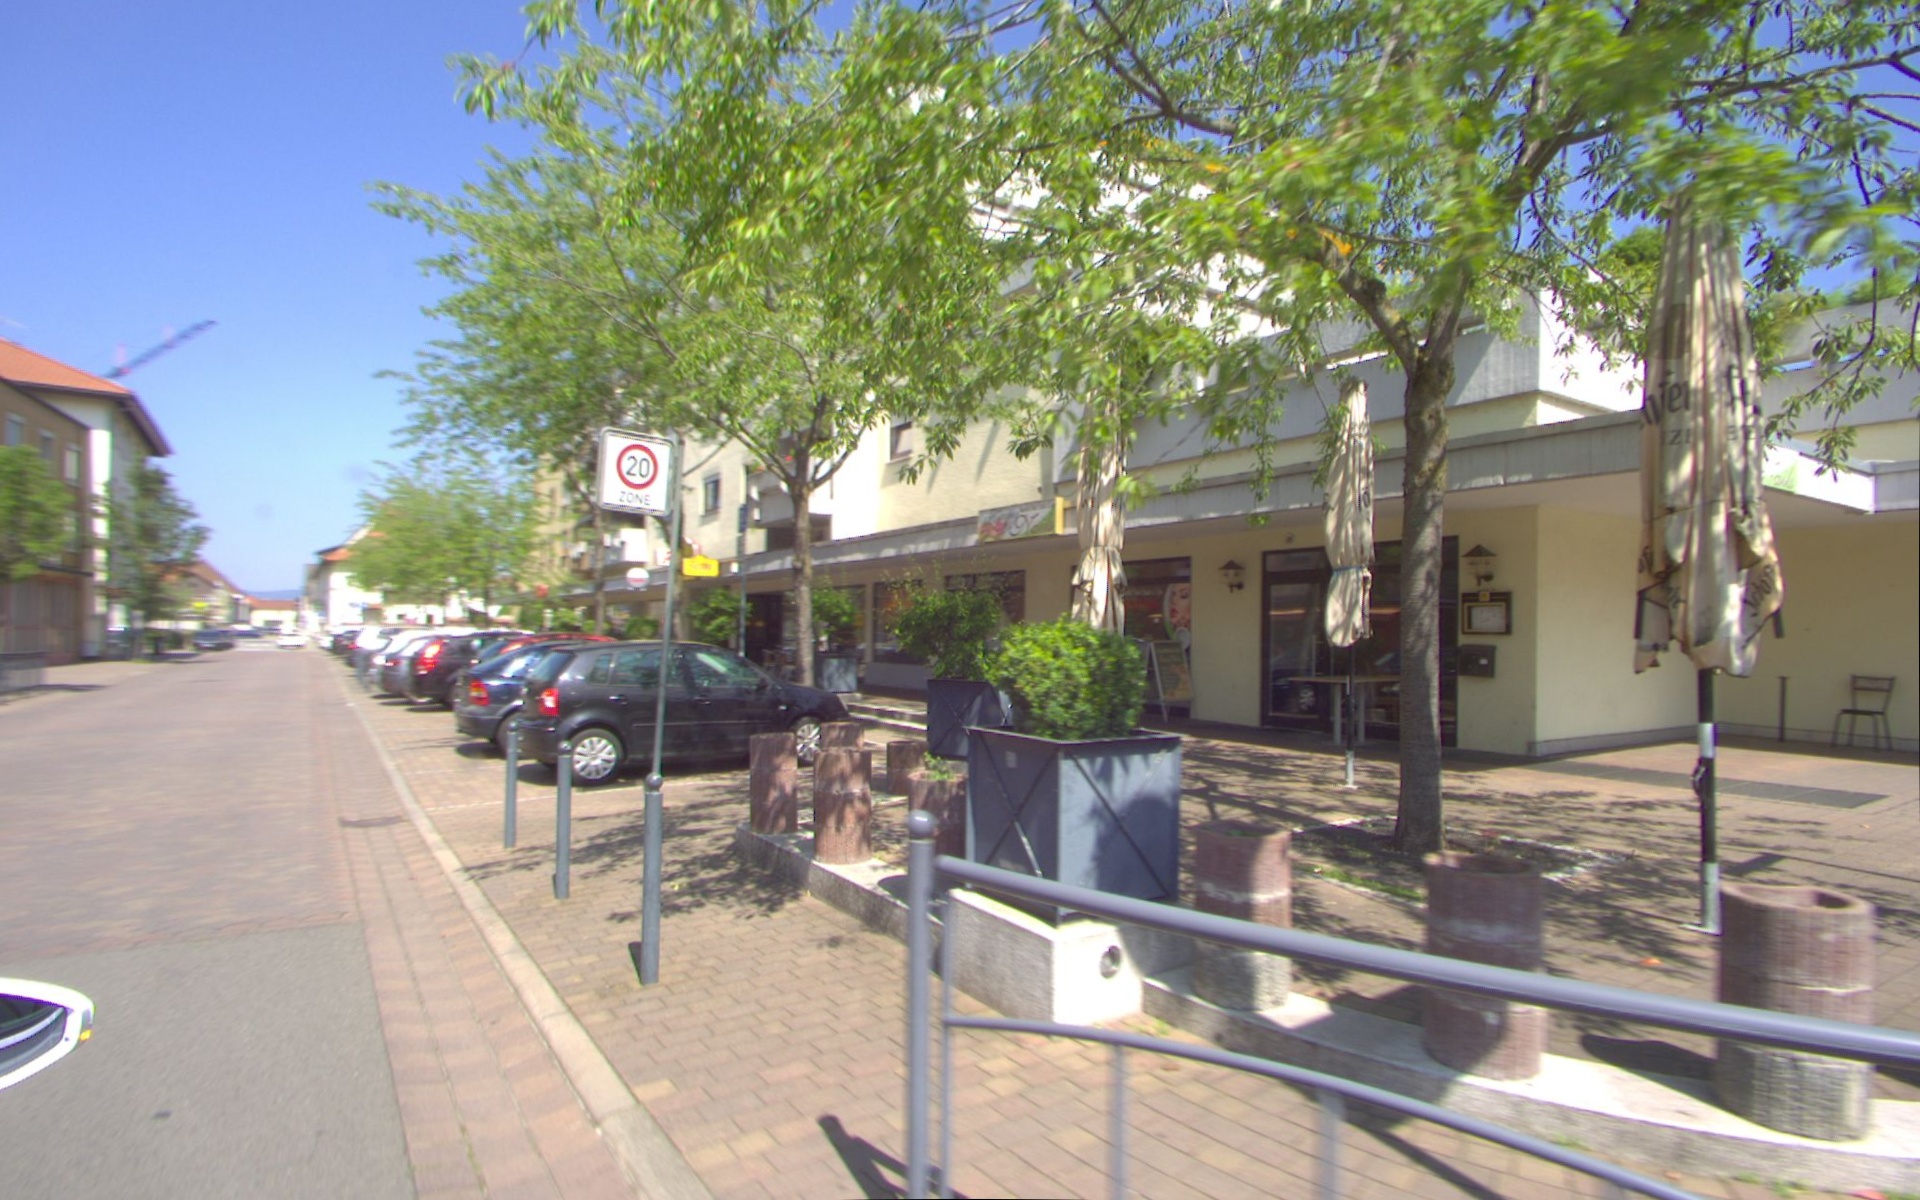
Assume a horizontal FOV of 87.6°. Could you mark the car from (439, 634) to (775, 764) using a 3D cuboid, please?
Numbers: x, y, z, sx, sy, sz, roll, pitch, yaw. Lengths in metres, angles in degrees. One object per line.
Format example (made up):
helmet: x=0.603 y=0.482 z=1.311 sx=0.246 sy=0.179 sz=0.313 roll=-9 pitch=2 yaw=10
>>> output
car: x=-4.765 y=1.236 z=13.714 sx=4.057 sy=1.450 sz=1.772 roll=1 pitch=0 yaw=-34

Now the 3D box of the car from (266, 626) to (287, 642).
car: x=-72.190 y=3.584 z=105.798 sx=1.729 sy=1.500 sz=3.607 roll=2 pitch=-1 yaw=-33

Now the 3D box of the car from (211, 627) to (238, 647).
car: x=-60.249 y=3.051 z=82.062 sx=1.493 sy=1.520 sz=3.803 roll=2 pitch=-1 yaw=-33

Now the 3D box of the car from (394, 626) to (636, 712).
car: x=-8.941 y=1.336 z=20.243 sx=4.146 sy=1.560 sz=1.932 roll=2 pitch=-2 yaw=-37

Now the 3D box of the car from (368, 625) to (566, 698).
car: x=-11.847 y=1.450 z=24.111 sx=4.111 sy=1.594 sz=1.748 roll=2 pitch=-1 yaw=-32

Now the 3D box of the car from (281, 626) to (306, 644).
car: x=-60.119 y=3.130 z=90.379 sx=1.813 sy=1.552 sz=3.920 roll=2 pitch=-1 yaw=-33

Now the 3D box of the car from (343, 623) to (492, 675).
car: x=-18.023 y=1.618 z=33.336 sx=4.204 sy=1.636 sz=1.548 roll=2 pitch=-2 yaw=-35

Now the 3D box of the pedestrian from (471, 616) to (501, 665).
pedestrian: x=-17.858 y=1.534 z=37.704 sx=0.831 sy=1.810 sz=0.800 roll=2 pitch=-1 yaw=-40

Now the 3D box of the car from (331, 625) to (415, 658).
car: x=-29.511 y=2.099 z=50.372 sx=3.489 sy=1.645 sz=1.700 roll=2 pitch=-2 yaw=-35

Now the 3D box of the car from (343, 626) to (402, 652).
car: x=-39.485 y=2.632 z=67.299 sx=3.316 sy=1.737 sz=1.461 roll=2 pitch=-2 yaw=-35

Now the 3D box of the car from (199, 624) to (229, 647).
car: x=-53.718 y=2.533 z=72.139 sx=1.493 sy=1.520 sz=3.803 roll=2 pitch=-1 yaw=-33

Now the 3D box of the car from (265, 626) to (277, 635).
car: x=-132.344 y=5.844 z=192.277 sx=1.729 sy=1.500 sz=3.607 roll=2 pitch=-1 yaw=-33

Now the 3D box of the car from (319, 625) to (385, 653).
car: x=-38.875 y=2.482 z=64.033 sx=3.450 sy=1.722 sz=1.524 roll=1 pitch=-2 yaw=-39

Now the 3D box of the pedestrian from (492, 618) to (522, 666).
pedestrian: x=-17.492 y=1.608 z=38.663 sx=0.831 sy=1.810 sz=0.800 roll=2 pitch=-1 yaw=-40

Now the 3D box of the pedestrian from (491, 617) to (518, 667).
pedestrian: x=-16.884 y=1.545 z=37.099 sx=0.826 sy=1.810 sz=0.804 roll=1 pitch=0 yaw=-21

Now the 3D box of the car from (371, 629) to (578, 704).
car: x=-10.514 y=1.400 z=21.814 sx=3.892 sy=1.508 sz=1.708 roll=1 pitch=-2 yaw=-29

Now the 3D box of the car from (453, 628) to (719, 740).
car: x=-5.914 y=1.237 z=15.935 sx=3.686 sy=1.555 sz=1.754 roll=0 pitch=-1 yaw=-34

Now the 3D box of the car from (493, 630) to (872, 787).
car: x=-3.158 y=1.128 z=11.685 sx=3.921 sy=1.529 sz=1.761 roll=1 pitch=-2 yaw=-35
